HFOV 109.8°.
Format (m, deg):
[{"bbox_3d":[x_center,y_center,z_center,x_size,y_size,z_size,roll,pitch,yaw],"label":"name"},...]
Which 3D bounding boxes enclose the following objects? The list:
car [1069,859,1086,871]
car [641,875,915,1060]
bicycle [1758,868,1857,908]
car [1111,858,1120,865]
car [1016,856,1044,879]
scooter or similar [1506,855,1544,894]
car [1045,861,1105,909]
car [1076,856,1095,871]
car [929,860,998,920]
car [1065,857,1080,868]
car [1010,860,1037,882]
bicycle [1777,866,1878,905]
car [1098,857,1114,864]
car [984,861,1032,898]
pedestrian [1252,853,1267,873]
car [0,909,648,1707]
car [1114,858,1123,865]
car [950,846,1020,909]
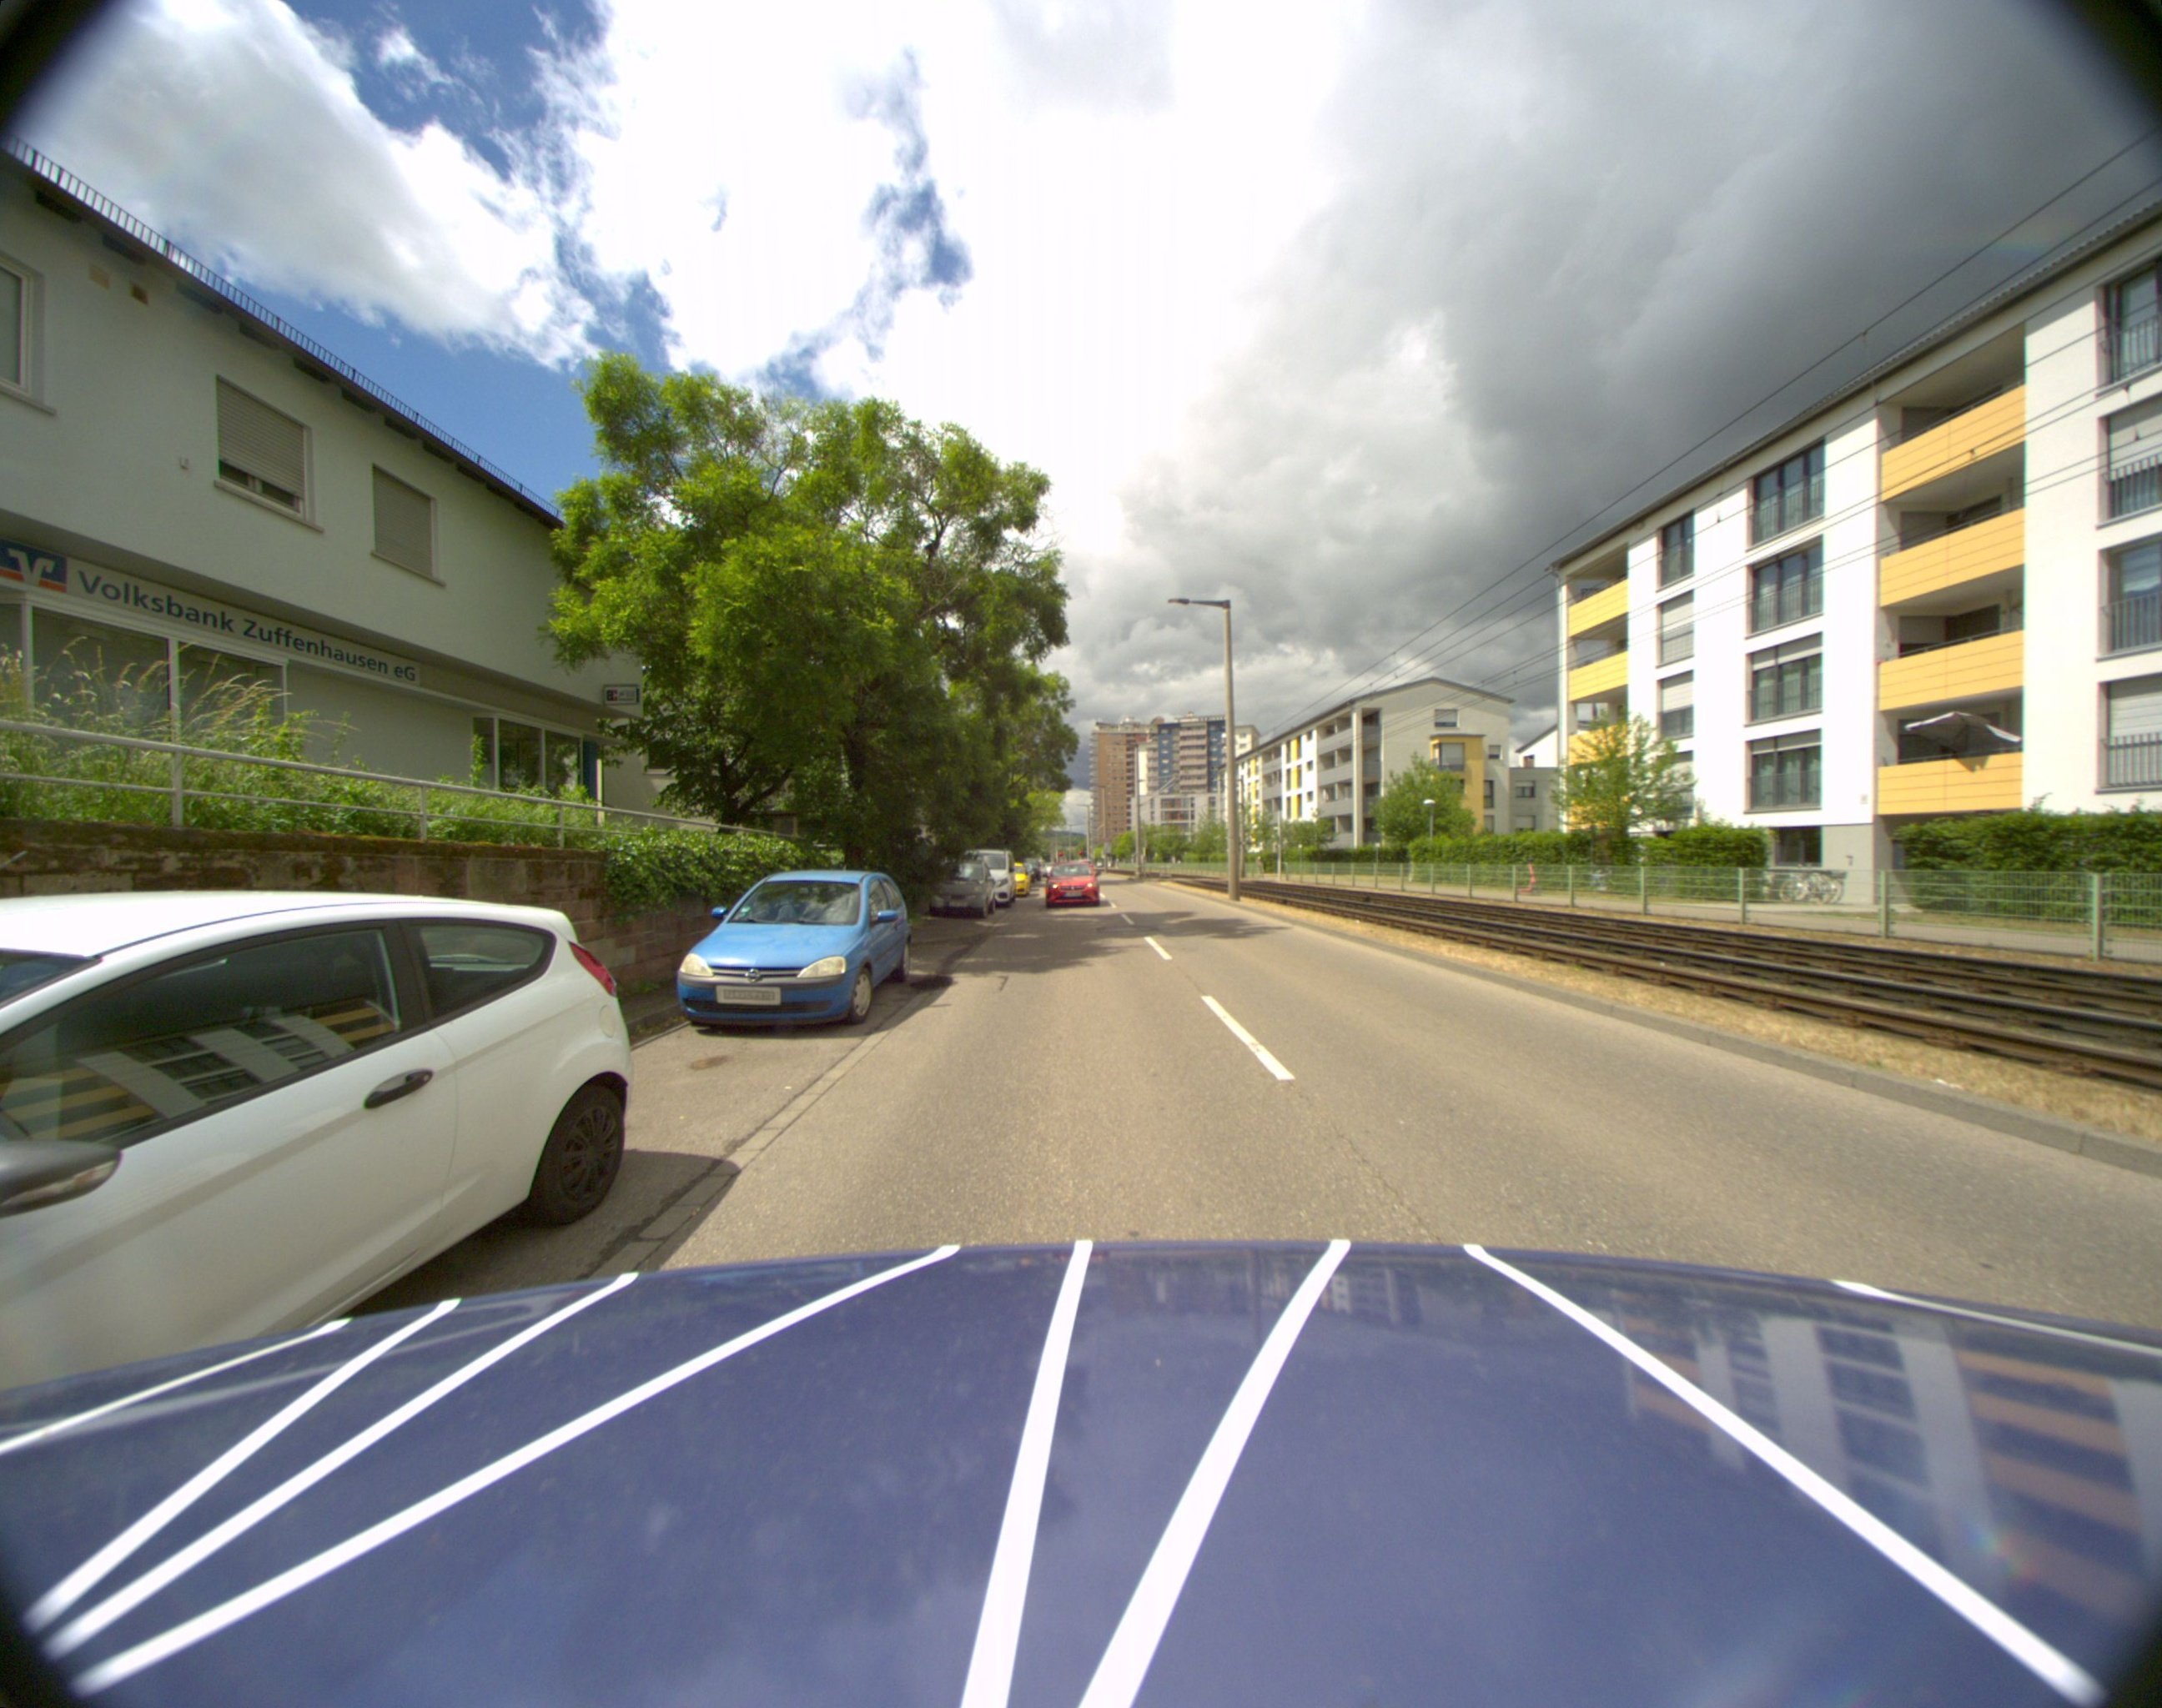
[{"bbox_3d":[-0.457,1.383,95.757,1.822,1.494,4.835,-2,0,-4],"label":"car"},{"bbox_3d":[-2.918,0.994,8.165,1.612,1.448,3.675,0,0,-3],"label":"car"},{"bbox_3d":[19.557,0.892,20.534,0.556,0.974,2.213,-1,0,0],"label":"bicycle"},{"bbox_3d":[8.431,1.809,185.585,1.782,1.530,3.802,-1,0,-4],"label":"car"},{"bbox_3d":[-4.000,1.021,60.343,2.020,1.778,5.075,0,0,-1],"label":"car"},{"bbox_3d":[14.852,0.671,25.439,0.491,1.285,1.302,-1,0,-1],"label":"scooter or similar"},{"bbox_3d":[-0.267,0.963,25.318,1.792,1.387,4.241,-2,0,-2],"label":"car"},{"bbox_3d":[0.445,1.074,85.436,1.822,1.604,4.600,-2,0,-3],"label":"car"},{"bbox_3d":[-3.188,0.947,21.049,1.517,1.525,2.846,0,0,-2],"label":"car"},{"bbox_3d":[-1.252,1.237,111.163,1.863,1.680,4.432,-1,0,-5],"label":"car"},{"bbox_3d":[-4.059,1.174,54.401,1.839,1.497,4.241,0,0,-3],"label":"car"},{"bbox_3d":[20.079,0.821,20.523,0.556,0.974,2.213,-1,0,0],"label":"bicycle"},{"bbox_3d":[7.355,1.794,223.096,4.506,1.914,1.877,-1,0,-44],"label":"car"},{"bbox_3d":[-3.061,1.044,32.593,1.760,1.434,4.340,0,0,-2],"label":"car"},{"bbox_3d":[13.024,0.646,55.545,0.798,1.474,0.995,-1,0,-4],"label":"pedestrian"},{"bbox_3d":[-2.927,1.011,1.759,1.649,1.481,3.822,-1,0,0],"label":"car"},{"bbox_3d":[8.866,1.843,179.596,1.894,1.530,3.803,-1,0,-2],"label":"car"},{"bbox_3d":[-3.216,0.732,26.458,1.919,1.947,5.743,0,0,-2],"label":"car"}]
